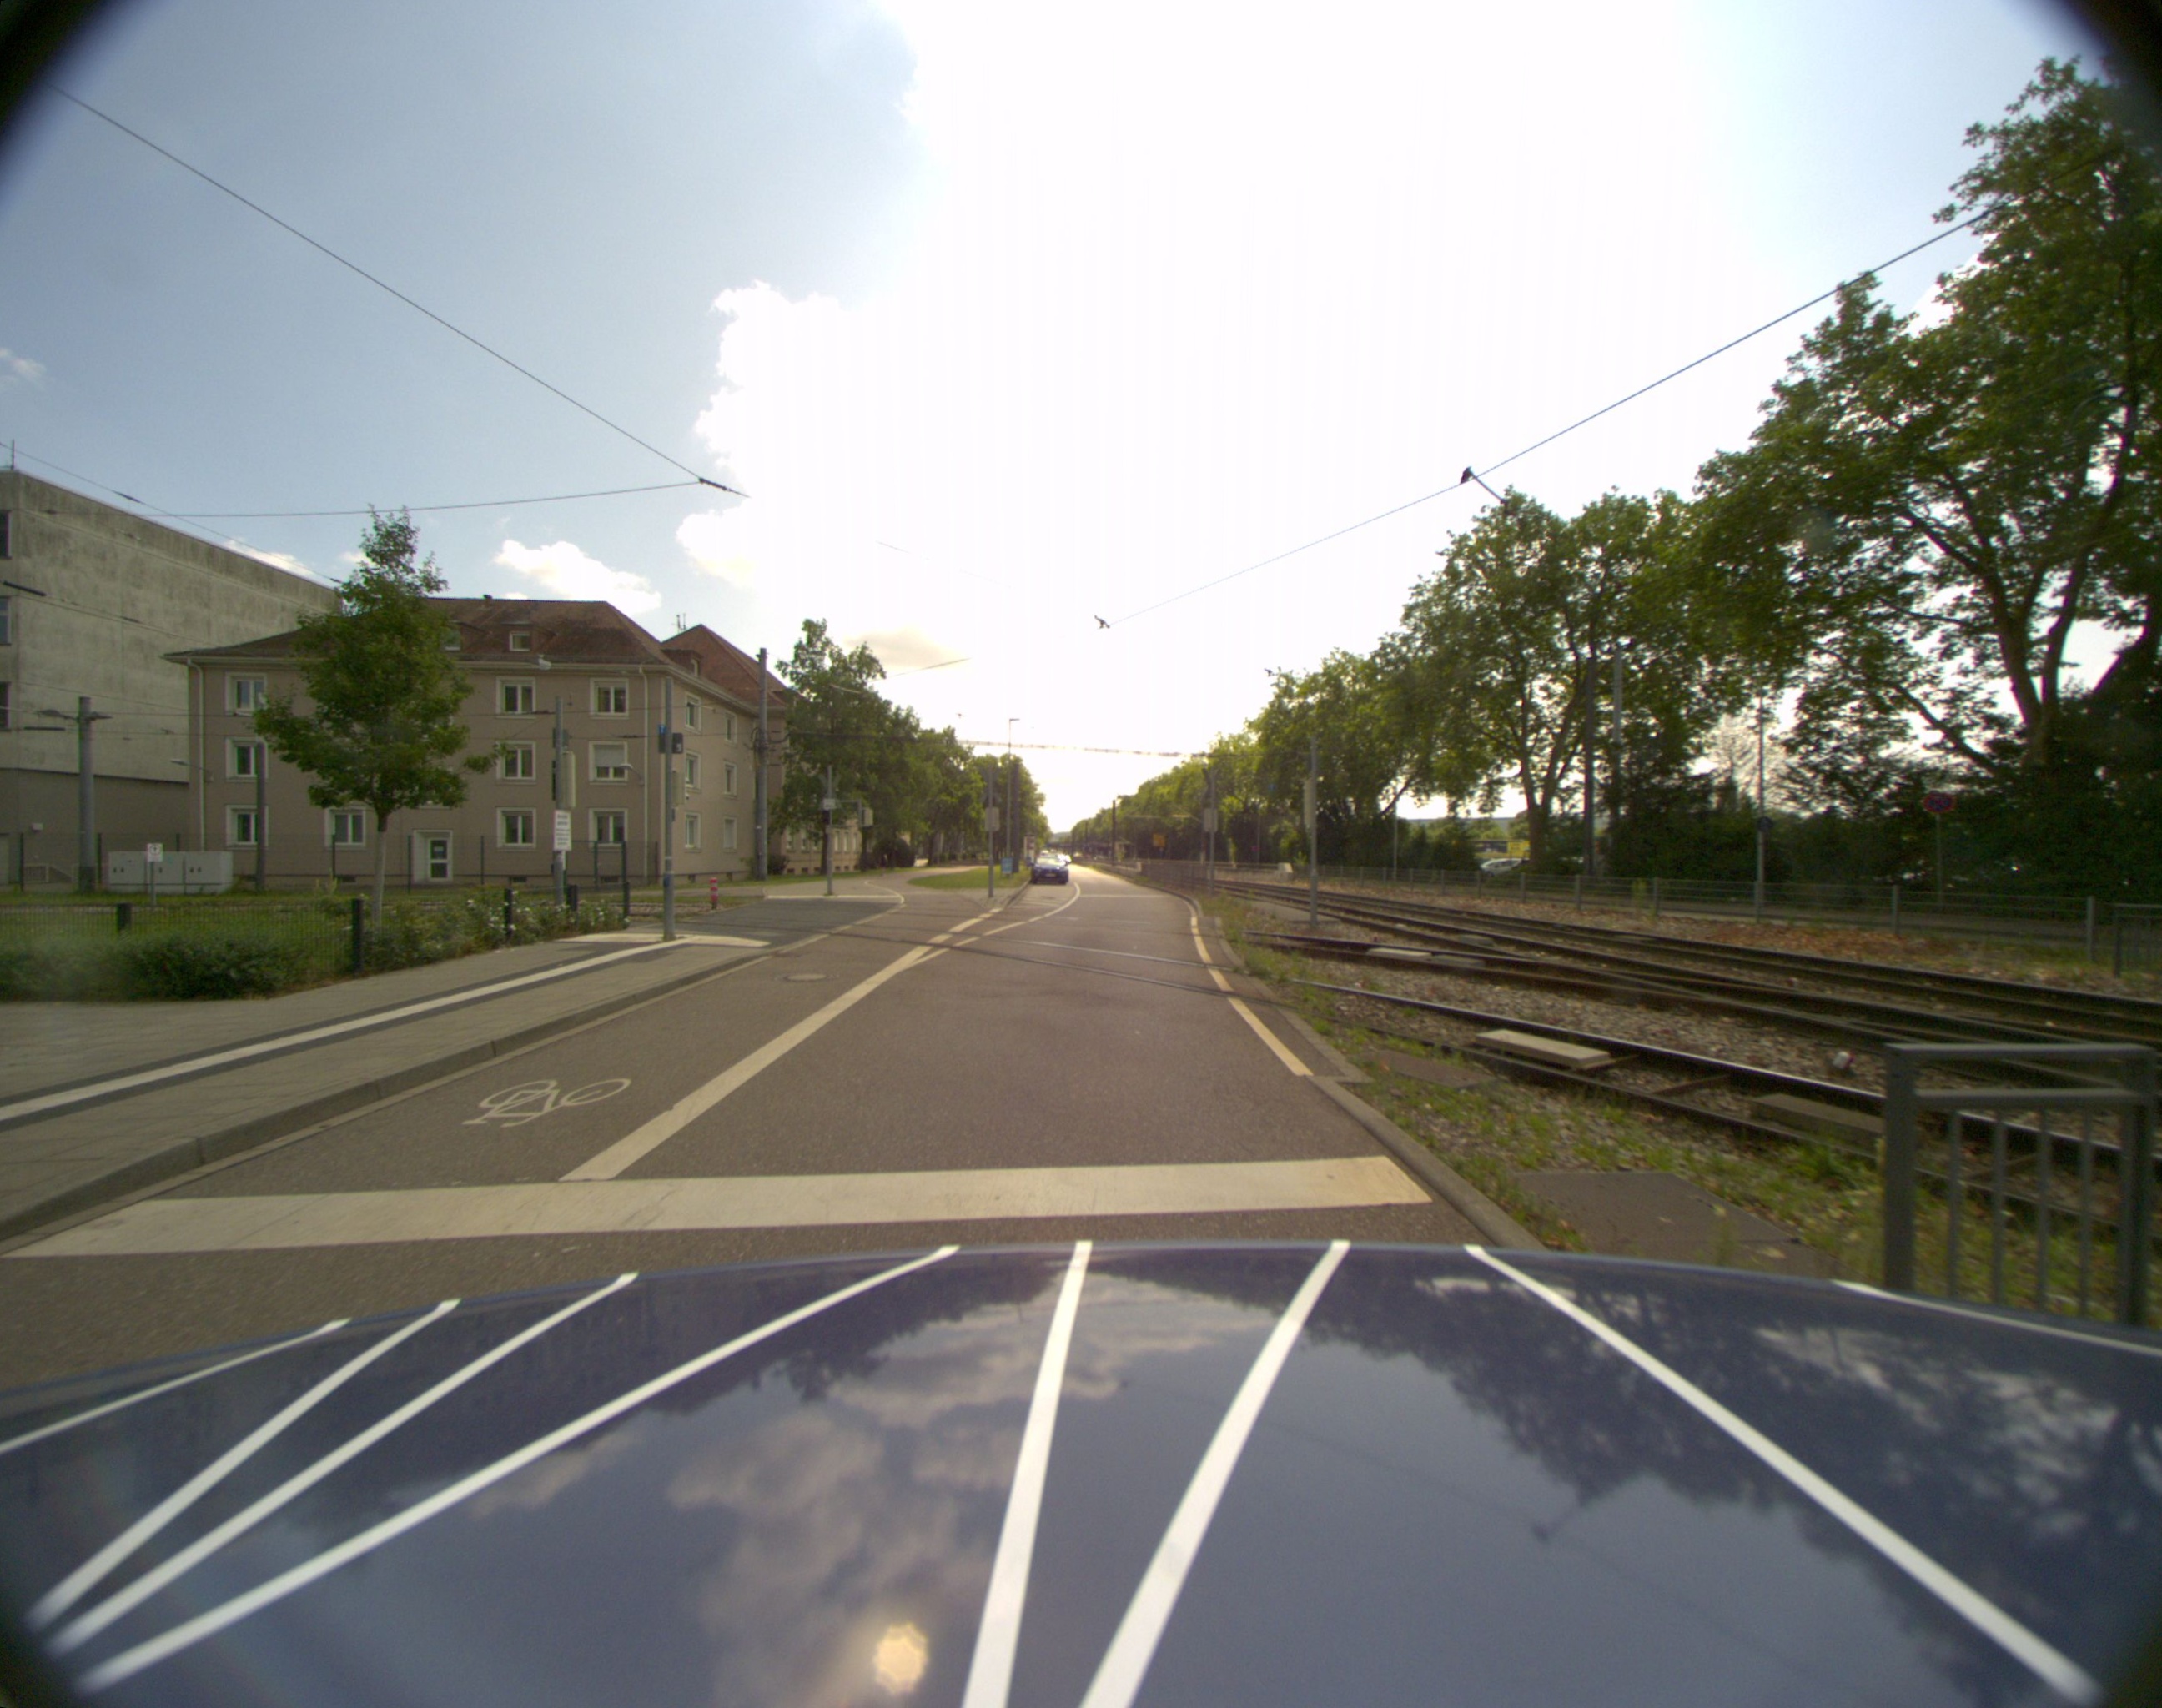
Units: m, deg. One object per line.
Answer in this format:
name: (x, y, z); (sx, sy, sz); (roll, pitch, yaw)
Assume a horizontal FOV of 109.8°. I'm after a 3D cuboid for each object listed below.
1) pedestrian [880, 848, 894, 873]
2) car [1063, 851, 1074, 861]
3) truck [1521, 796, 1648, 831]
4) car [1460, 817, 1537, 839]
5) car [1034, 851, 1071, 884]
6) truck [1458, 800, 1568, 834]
pedestrian: (-12.527, 0.427, 49.050); (0.623, 1.599, 0.625); (2, 2, 27)
car: (-2.325, 0.421, 139.754); (1.999, 1.711, 4.302); (1, 2, -2)
truck: (43.212, -3.455, 65.386); (8.854, 2.778, 2.706); (2, 2, 2)
car: (27.803, -1.721, 50.707); (3.998, 1.434, 1.999); (0, 2, -2)
car: (-1.596, 0.683, 40.826); (1.784, 1.531, 4.418); (1, 1, -4)
truck: (56.571, -4.766, 99.751); (12.822, 4.051, 2.747); (1, 2, -1)
